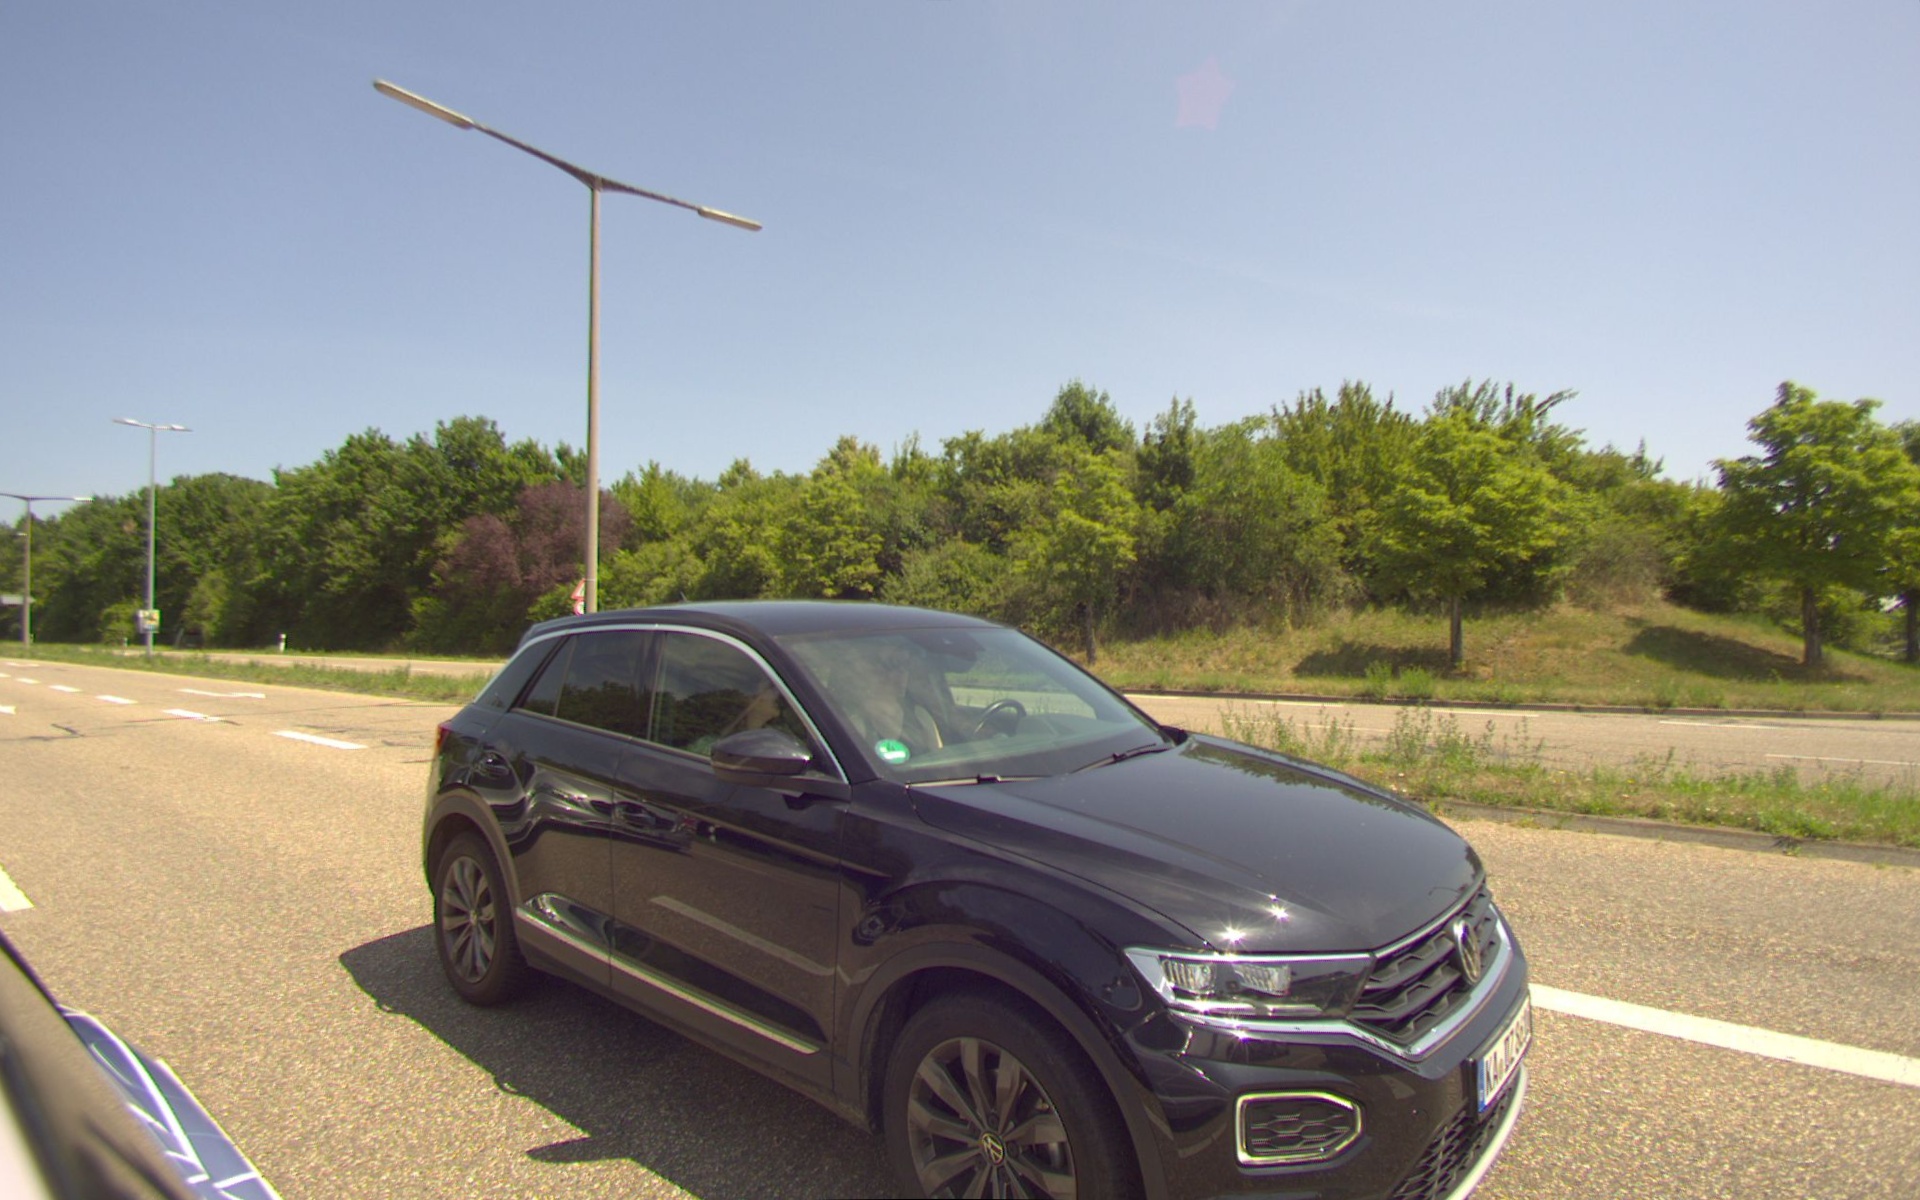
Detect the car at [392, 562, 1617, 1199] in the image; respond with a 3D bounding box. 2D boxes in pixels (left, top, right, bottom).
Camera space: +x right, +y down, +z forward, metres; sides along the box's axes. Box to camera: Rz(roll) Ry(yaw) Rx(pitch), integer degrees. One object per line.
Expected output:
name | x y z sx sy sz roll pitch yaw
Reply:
car | -0.251 0.719 3.441 3.969 1.523 1.716 -1 0 41
